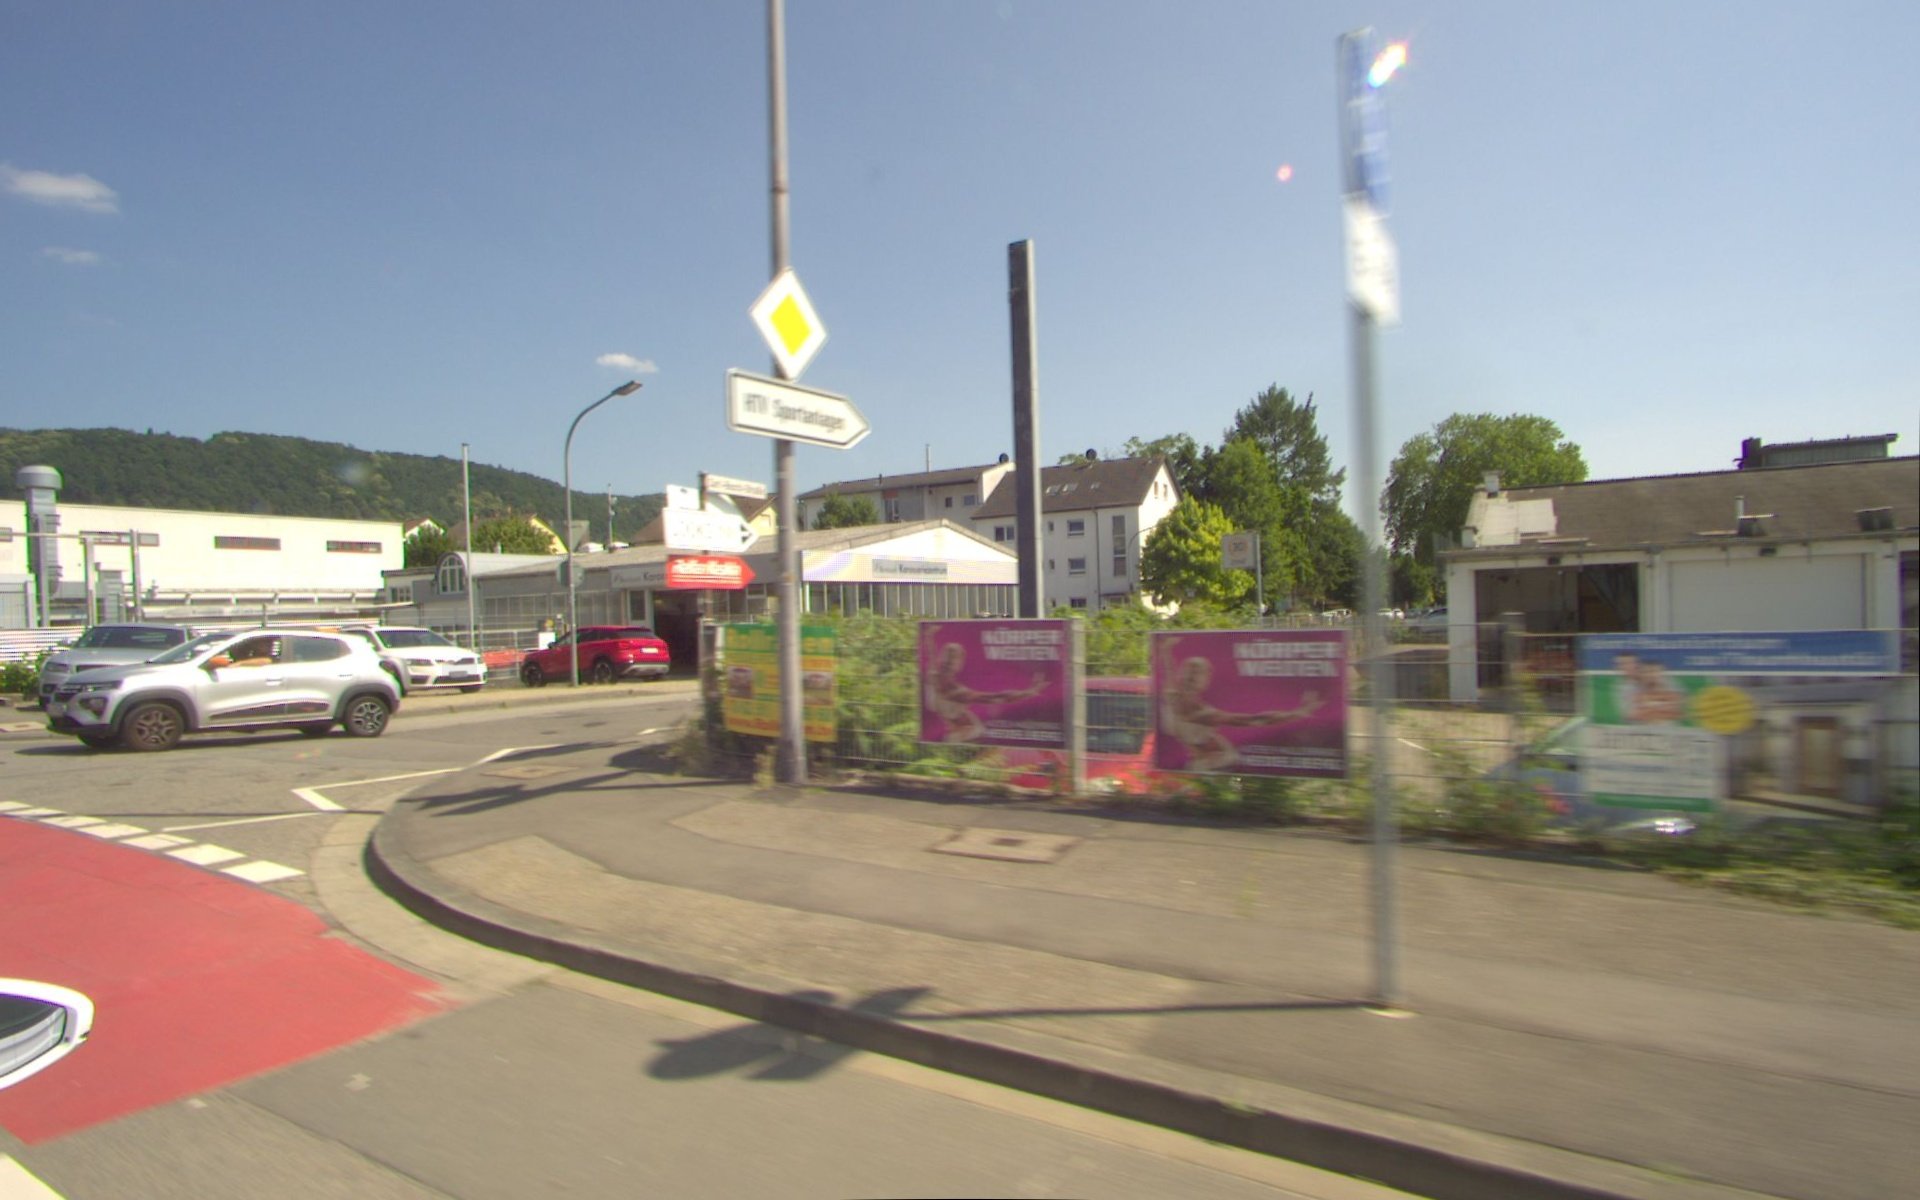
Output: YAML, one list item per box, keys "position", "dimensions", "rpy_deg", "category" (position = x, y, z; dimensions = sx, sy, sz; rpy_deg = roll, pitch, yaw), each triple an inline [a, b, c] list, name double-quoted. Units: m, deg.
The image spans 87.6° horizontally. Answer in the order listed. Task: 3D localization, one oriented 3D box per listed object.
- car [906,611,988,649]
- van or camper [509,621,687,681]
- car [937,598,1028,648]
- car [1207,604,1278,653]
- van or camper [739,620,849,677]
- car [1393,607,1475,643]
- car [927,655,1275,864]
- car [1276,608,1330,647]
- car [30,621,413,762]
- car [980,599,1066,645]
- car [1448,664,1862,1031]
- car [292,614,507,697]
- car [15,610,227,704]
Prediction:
- position: [-0.578, 1.273, 41.390]
  dimensions: [1.769, 1.482, 3.806]
  rpy_deg: [1, -3, -30]
  category: "car"
- position: [-9.245, 1.299, 25.560]
  dimensions: [4.165, 1.367, 1.994]
  rpy_deg: [-1, -5, 29]
  category: "van or camper"
- position: [0.925, 1.041, 43.591]
  dimensions: [1.975, 2.039, 3.973]
  rpy_deg: [1, -3, -36]
  category: "car"
- position: [11.063, 1.089, 39.017]
  dimensions: [1.968, 1.817, 3.986]
  rpy_deg: [0, -1, 27]
  category: "car"
- position: [-5.548, 1.555, 33.018]
  dimensions: [1.972, 1.564, 4.205]
  rpy_deg: [-6, 2, -32]
  category: "van or camper"
- position: [26.467, 1.356, 55.970]
  dimensions: [3.945, 1.929, 1.752]
  rpy_deg: [0, 1, 35]
  category: "car"
- position: [1.524, 1.283, 9.428]
  dimensions: [1.585, 1.363, 3.974]
  rpy_deg: [0, -1, 36]
  category: "car"
- position: [16.541, 1.289, 48.159]
  dimensions: [1.968, 1.795, 3.985]
  rpy_deg: [0, 0, 27]
  category: "car"
- position: [-9.394, 1.047, 13.028]
  dimensions: [1.702, 1.504, 3.659]
  rpy_deg: [0, 0, 31]
  category: "car"
- position: [2.889, 1.060, 46.764]
  dimensions: [1.975, 2.039, 3.973]
  rpy_deg: [1, -3, -36]
  category: "car"
- position: [4.906, 1.354, 6.889]
  dimensions: [1.870, 1.622, 3.451]
  rpy_deg: [0, -1, 43]
  category: "car"
- position: [-11.586, 1.068, 20.643]
  dimensions: [4.439, 1.524, 1.845]
  rpy_deg: [-1, 0, 30]
  category: "car"
- position: [-14.044, 1.000, 17.075]
  dimensions: [1.931, 1.375, 4.477]
  rpy_deg: [3, -4, -29]
  category: "car"
